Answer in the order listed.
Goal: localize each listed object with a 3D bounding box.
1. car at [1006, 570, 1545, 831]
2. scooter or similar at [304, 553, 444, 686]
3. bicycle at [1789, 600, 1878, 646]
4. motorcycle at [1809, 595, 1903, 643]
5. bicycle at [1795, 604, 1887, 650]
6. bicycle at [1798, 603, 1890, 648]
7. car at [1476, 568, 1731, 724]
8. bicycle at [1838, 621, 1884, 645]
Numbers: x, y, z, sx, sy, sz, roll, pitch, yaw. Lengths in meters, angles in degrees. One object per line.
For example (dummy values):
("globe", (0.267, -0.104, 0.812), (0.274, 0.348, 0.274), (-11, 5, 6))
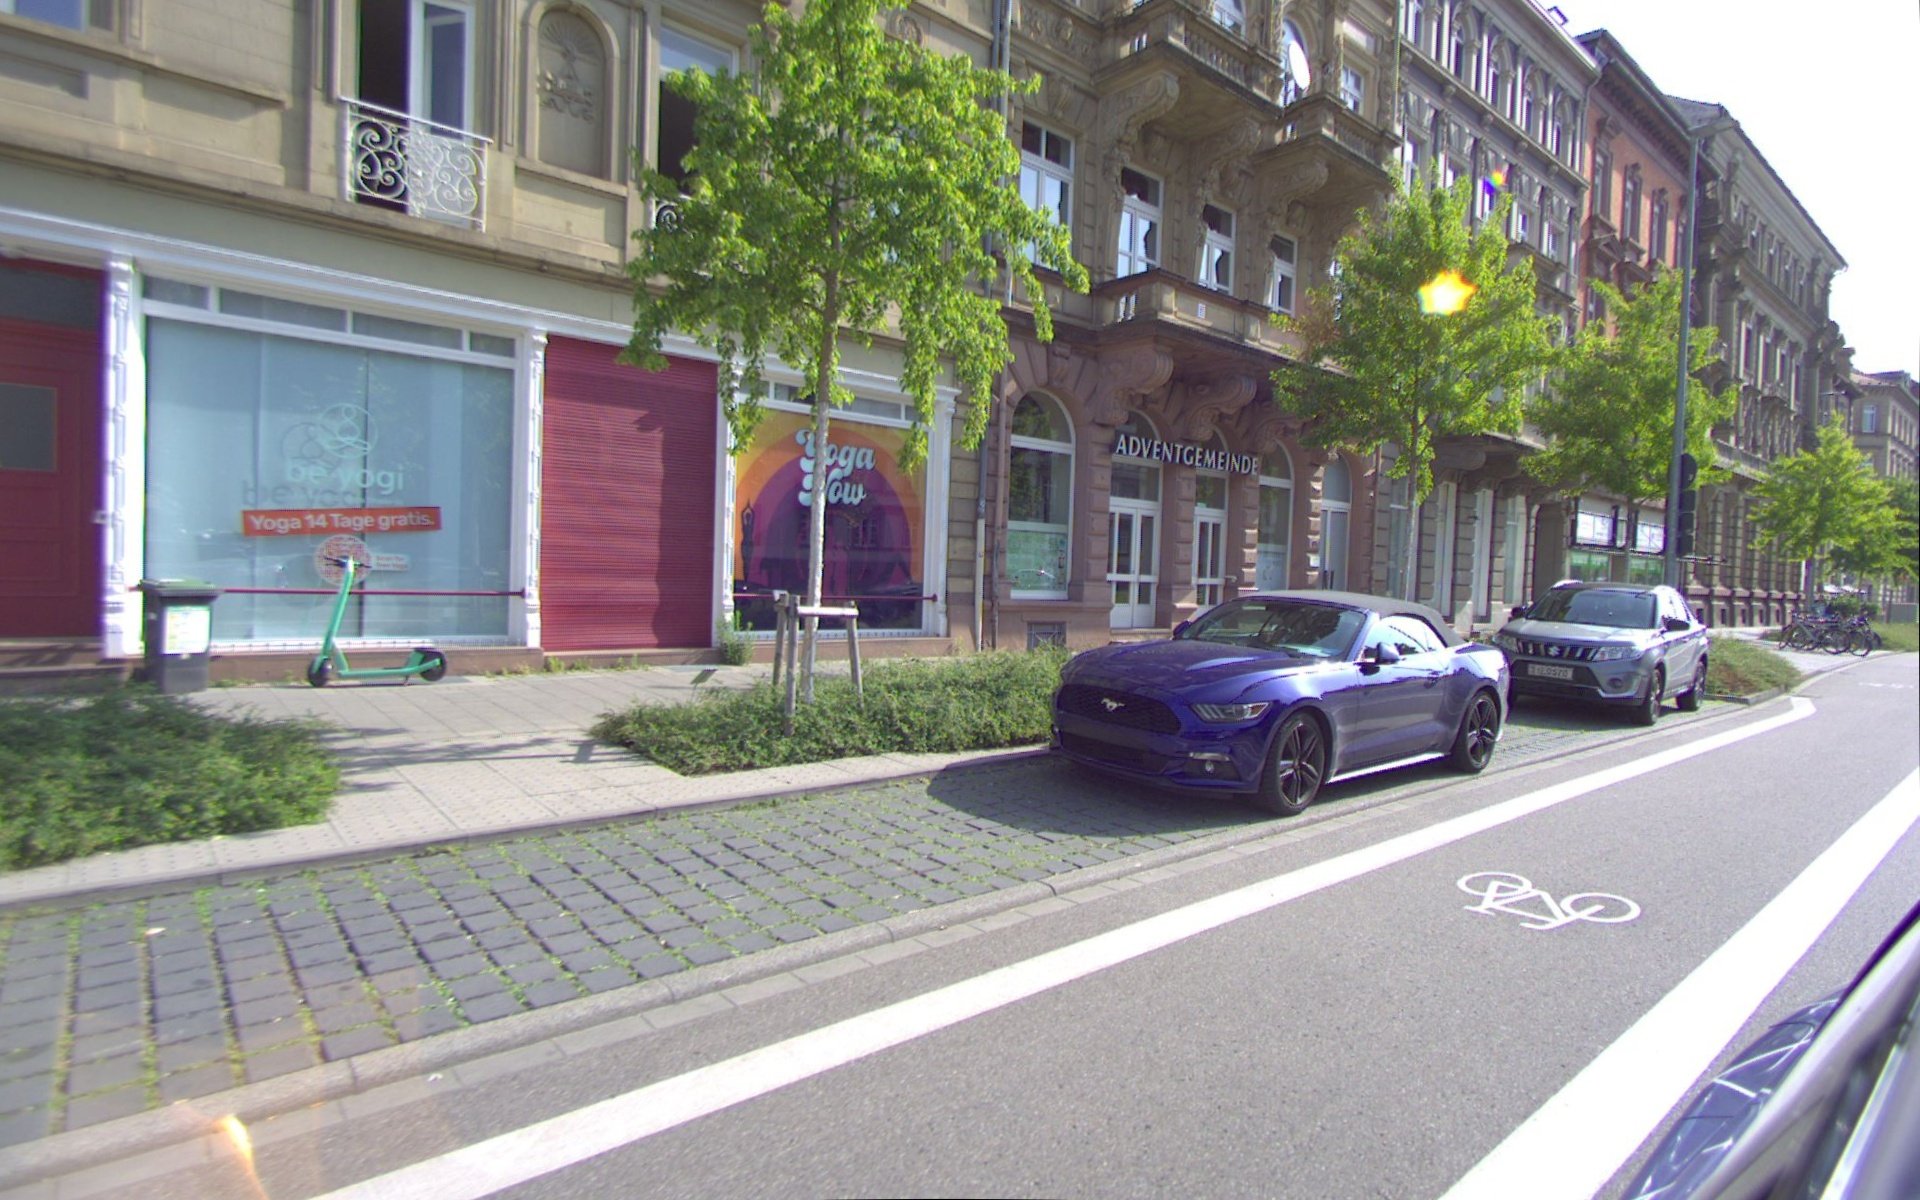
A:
("car", (2.674, 0.561, 7.900), (4.630, 1.413, 1.741), (0, 3, -40))
("scooter or similar", (-5.307, 0.167, 9.190), (1.068, 1.148, 0.290), (1, 1, -35))
("bicycle", (24.711, 0.631, 28.643), (0.661, 1.109, 1.808), (0, 4, -45))
("motorcycle", (27.753, 0.585, 31.381), (2.012, 1.302, 0.702), (4, 2, 14))
("bicycle", (23.743, 0.714, 27.292), (0.366, 1.066, 1.788), (1, 4, -41))
("bicycle", (24.040, 0.677, 27.543), (0.366, 1.066, 1.788), (1, 4, -41))
("car", (8.353, 0.474, 12.980), (4.178, 1.607, 1.772), (0, 3, -44))
("bicycle", (27.086, 0.977, 30.428), (0.354, 0.617, 0.961), (0, 4, -39))
